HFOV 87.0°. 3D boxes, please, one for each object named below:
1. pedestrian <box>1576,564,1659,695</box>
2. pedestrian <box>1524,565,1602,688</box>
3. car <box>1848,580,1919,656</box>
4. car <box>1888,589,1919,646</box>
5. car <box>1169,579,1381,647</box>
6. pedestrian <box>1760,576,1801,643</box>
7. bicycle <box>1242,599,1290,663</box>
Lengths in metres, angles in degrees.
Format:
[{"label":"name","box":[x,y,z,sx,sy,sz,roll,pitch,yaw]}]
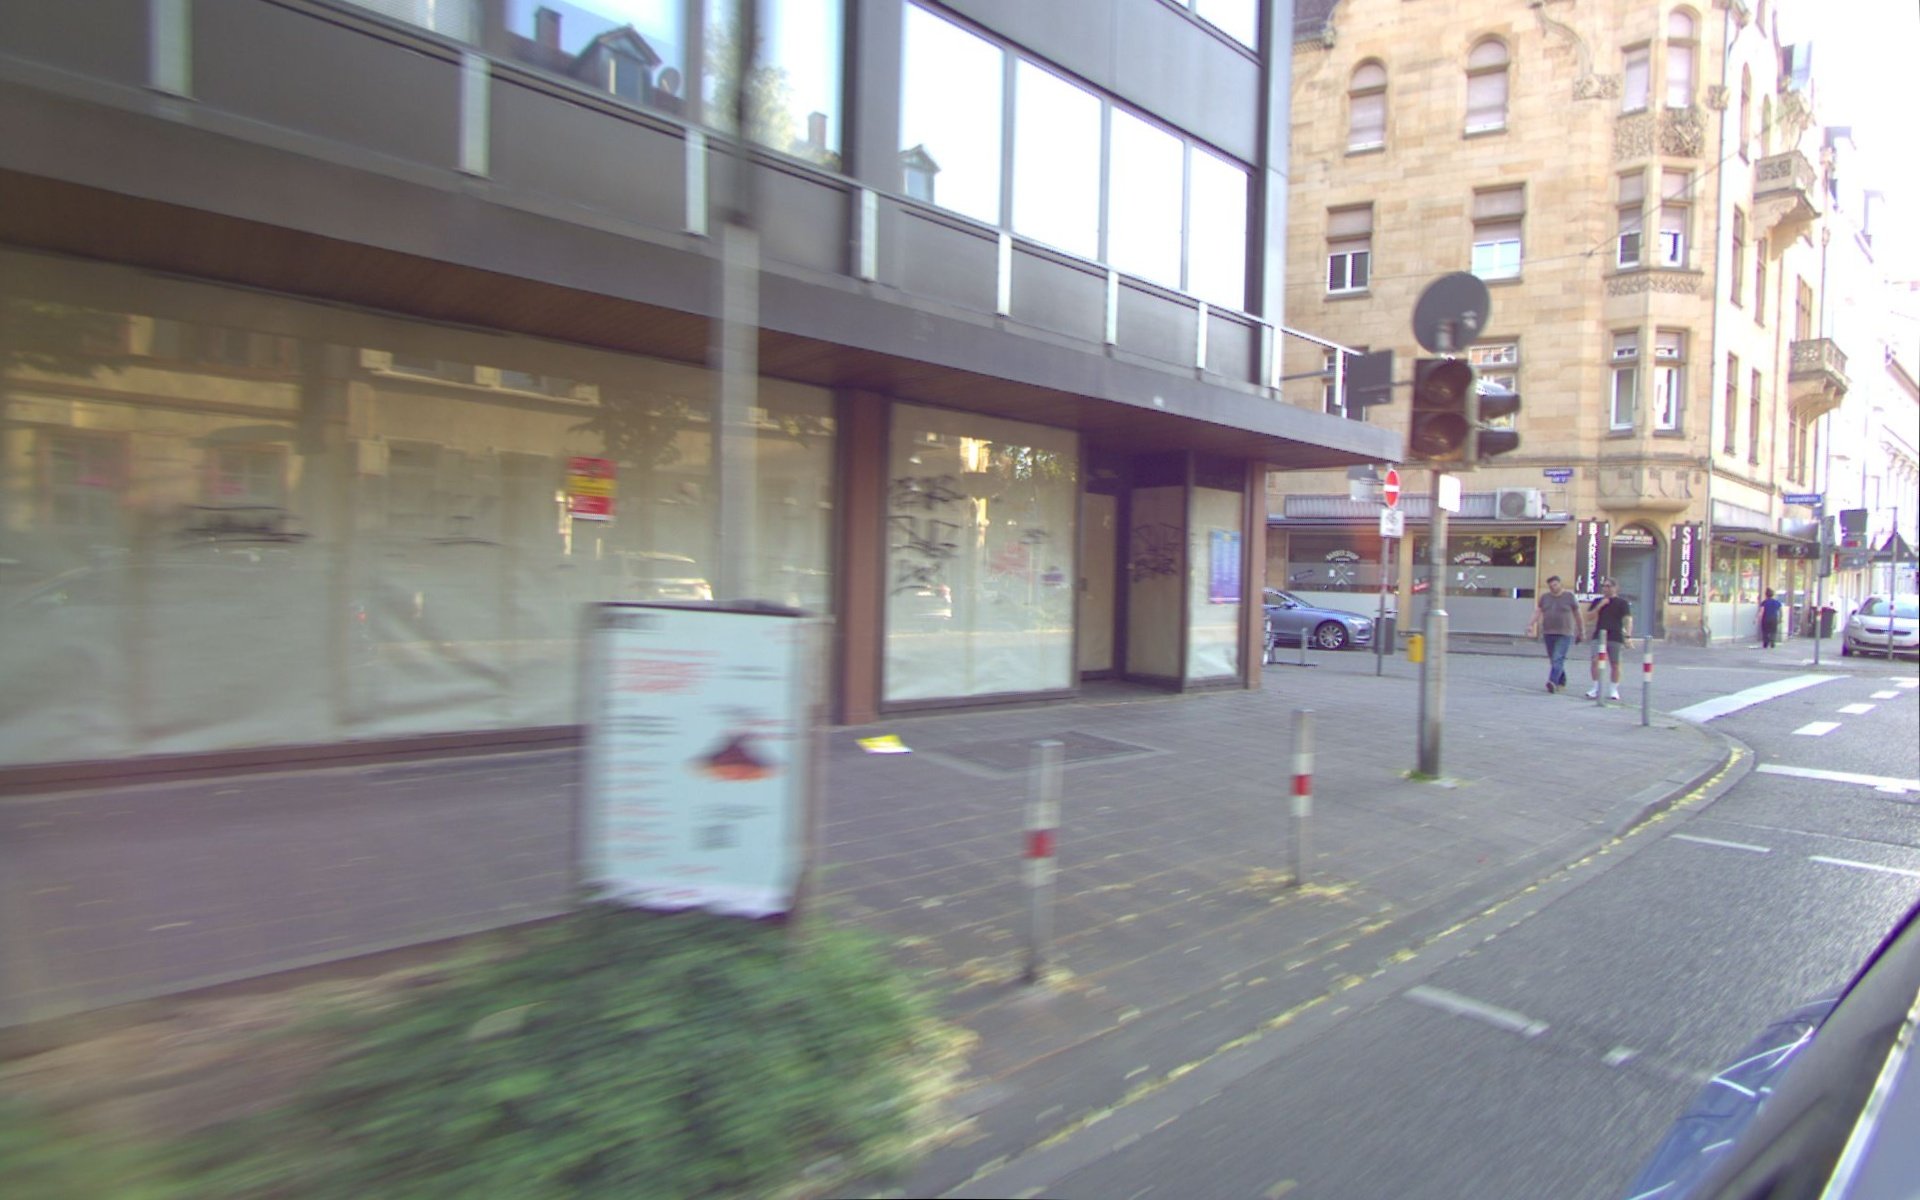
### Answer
[{"label":"pedestrian","box":[9.313,0.387,14.345,0.798,1.780,0.756,0,1,-41]},{"label":"pedestrian","box":[9.048,0.374,15.192,0.798,1.780,0.756,0,1,-41]},{"label":"car","box":[23.494,0.441,24.978,3.727,1.667,1.759,0,5,-41]},{"label":"car","box":[27.176,0.521,27.959,3.520,1.476,1.582,0,5,-38]},{"label":"car","box":[7.689,0.268,24.765,4.720,1.436,1.961,2,1,27]},{"label":"pedestrian","box":[21.271,0.241,26.241,0.591,1.682,0.600,0,3,-35]},{"label":"bicycle","box":[5.367,0.525,17.698,0.576,1.046,1.839,2,0,24]}]
